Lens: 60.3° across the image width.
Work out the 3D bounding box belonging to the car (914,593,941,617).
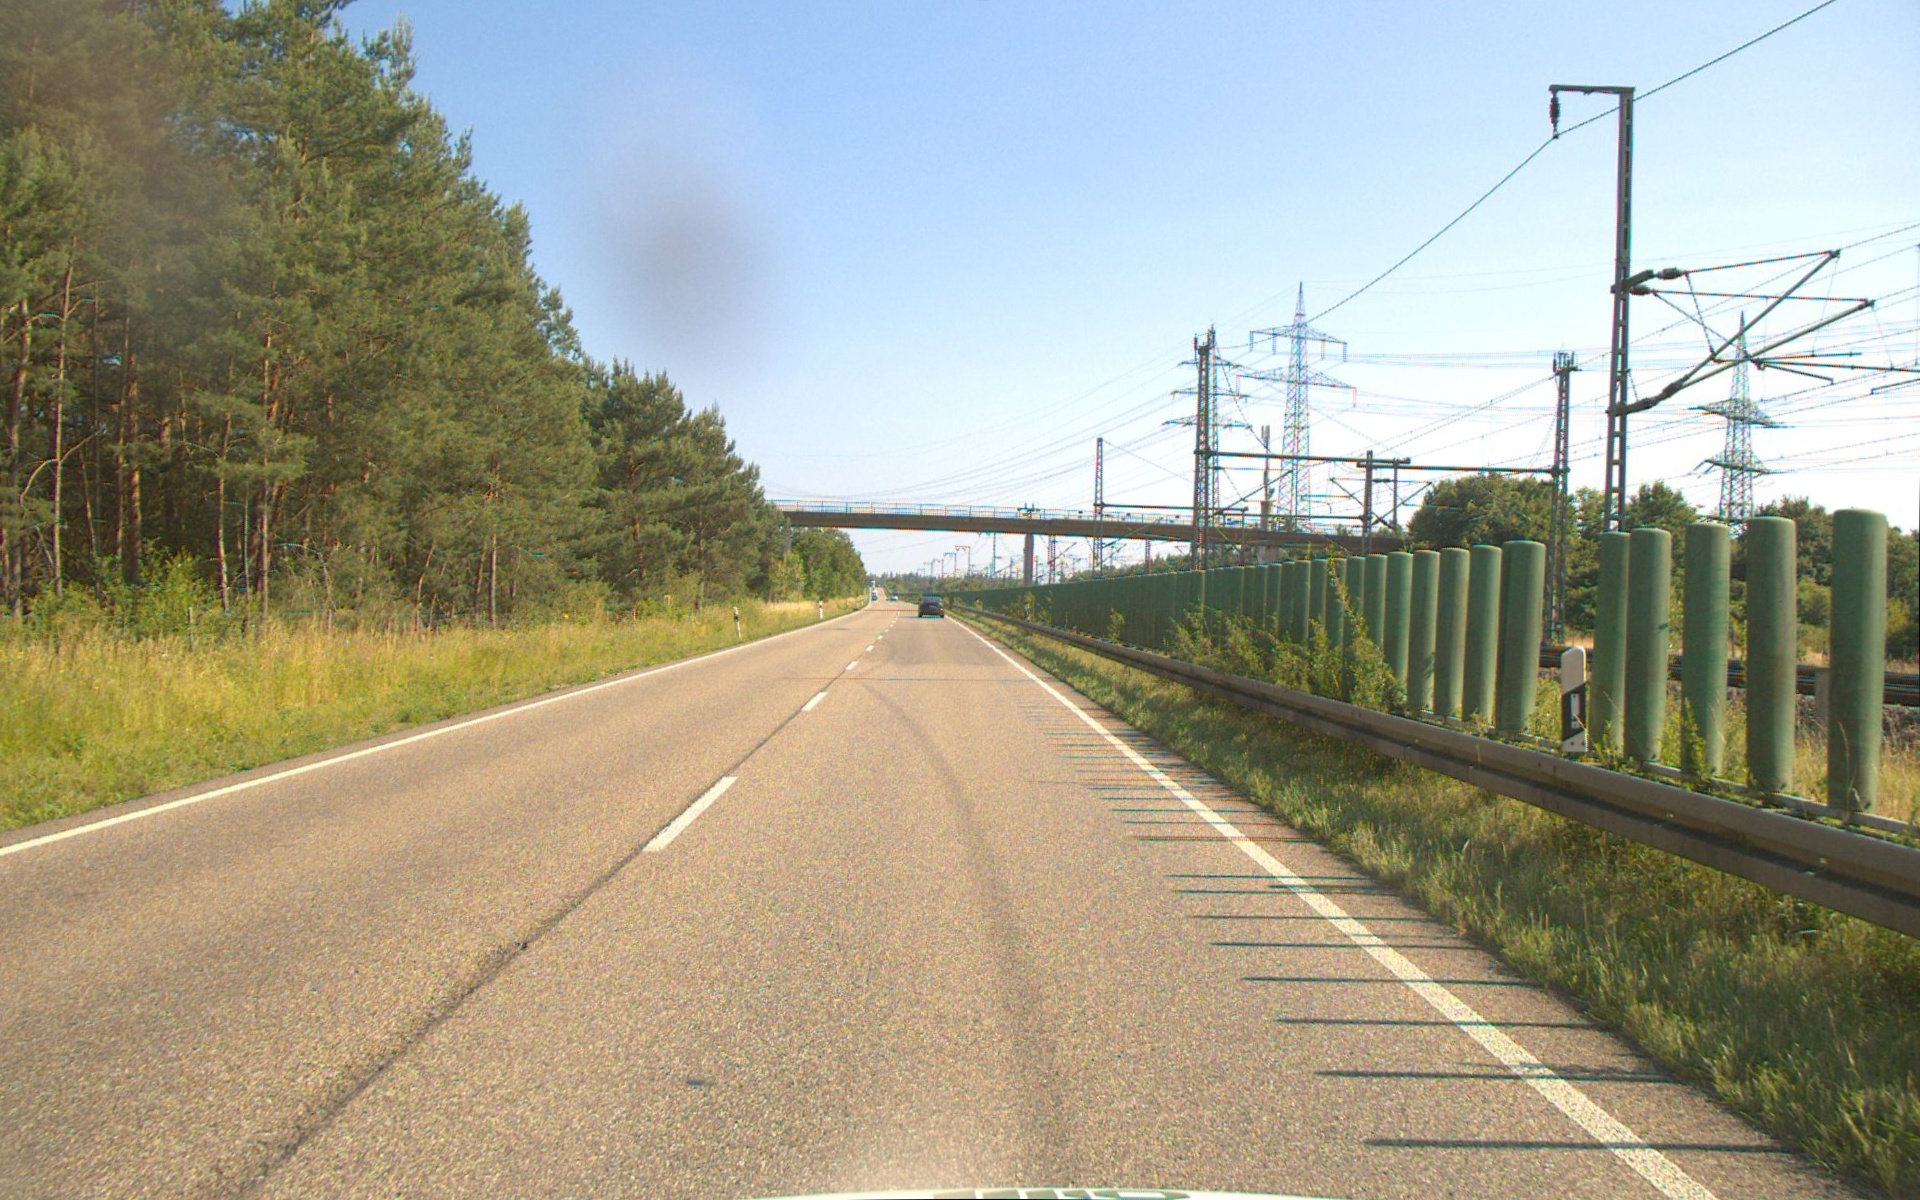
[{"bbox_3d":[-2.304,0.359,117.311,1.821,1.670,3.998,-1,0,-3],"label":"car"}]
